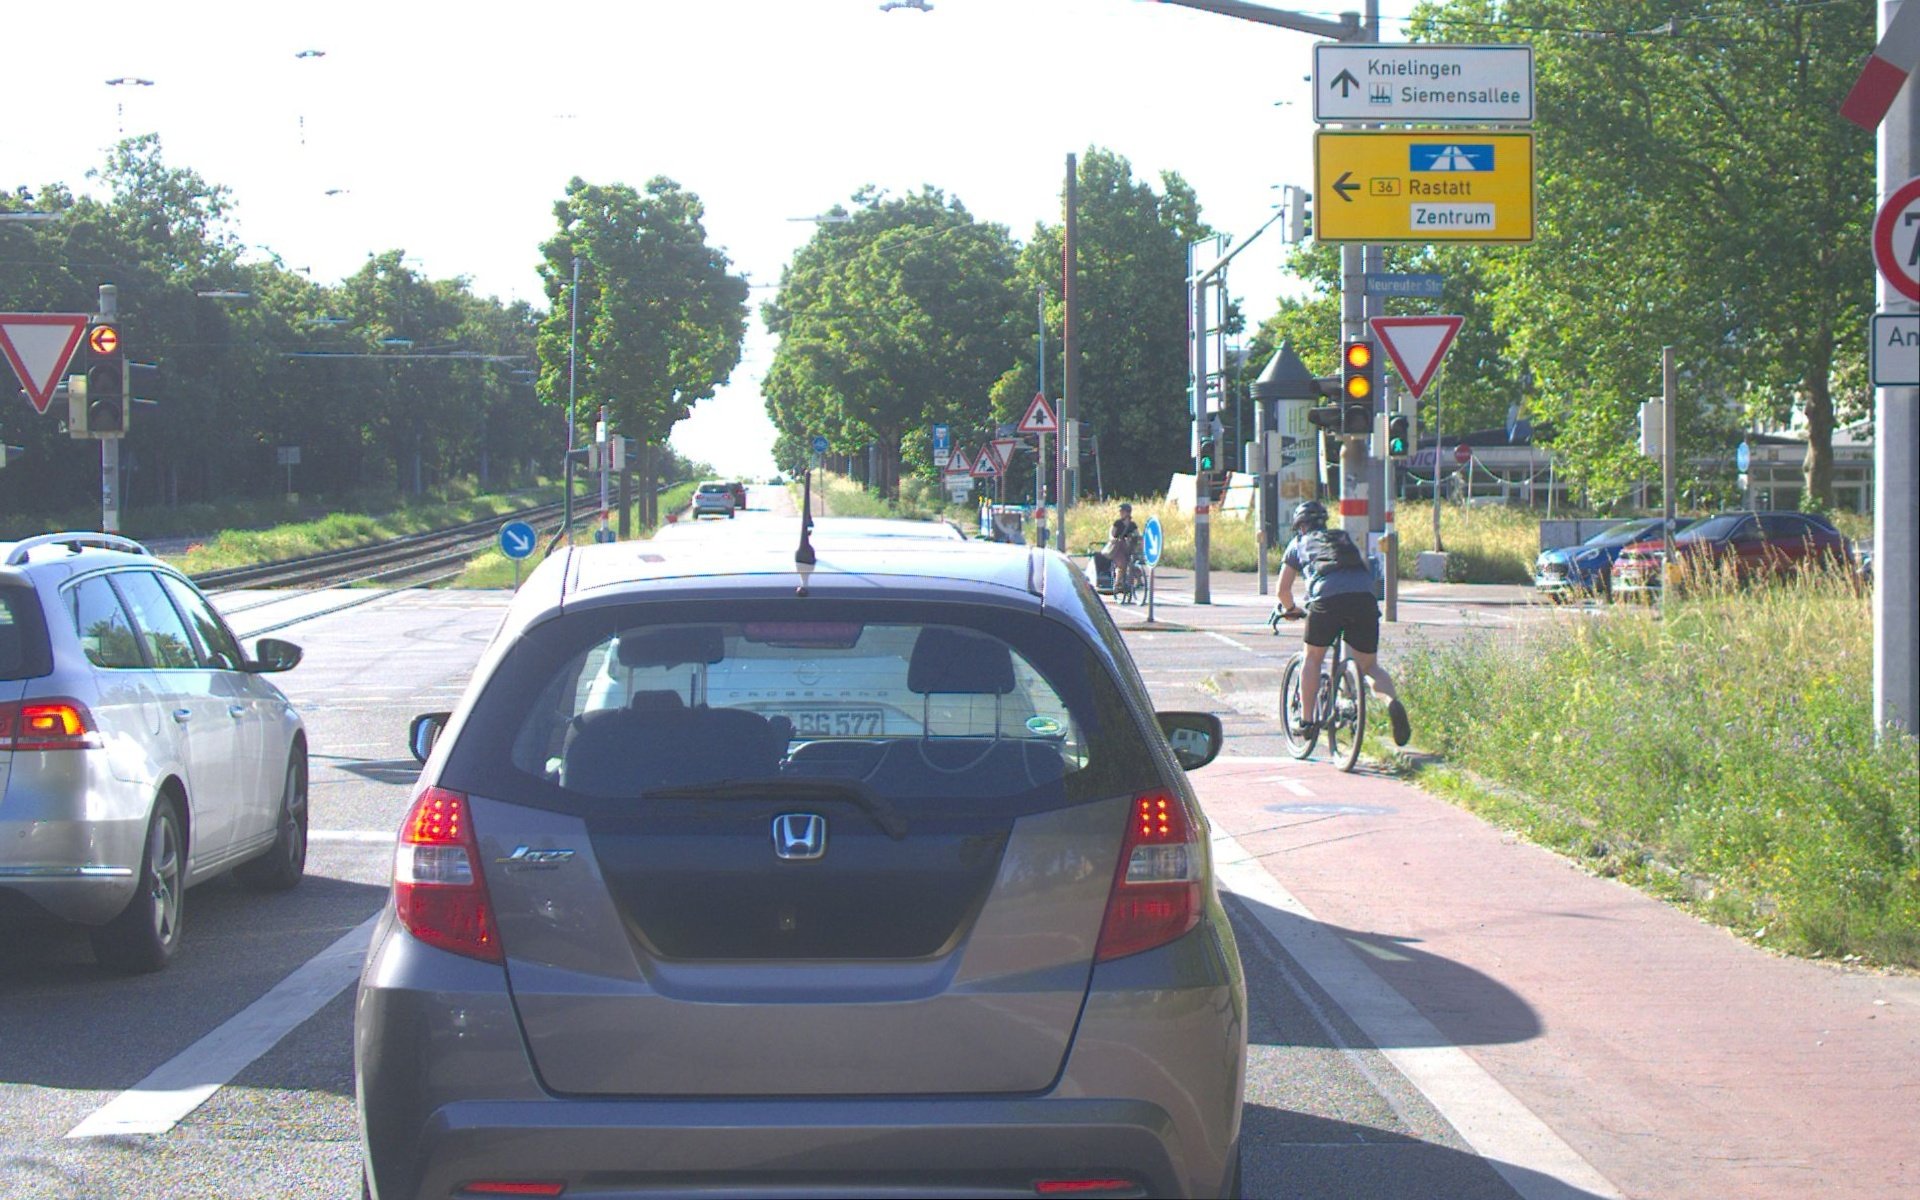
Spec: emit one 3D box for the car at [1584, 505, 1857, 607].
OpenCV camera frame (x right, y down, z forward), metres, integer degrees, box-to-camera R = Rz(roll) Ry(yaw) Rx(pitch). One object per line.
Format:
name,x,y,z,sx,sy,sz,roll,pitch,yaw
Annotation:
car,12.385,-0.736,55.990,4.076,1.595,1.817,-1,1,-25

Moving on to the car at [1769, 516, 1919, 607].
car,16.817,-0.727,62.769,3.847,1.595,1.713,-1,1,-29

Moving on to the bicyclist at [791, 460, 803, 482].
bicyclist,-11.507,-9.121,243.193,0.817,1.519,0.966,1,0,-2

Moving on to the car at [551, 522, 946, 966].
car,-0.786,0.460,13.439,1.351,1.522,3.124,0,1,-2

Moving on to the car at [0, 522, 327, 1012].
car,-3.648,0.476,12.875,1.877,1.522,4.421,0,1,-2

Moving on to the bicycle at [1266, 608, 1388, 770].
bicycle,2.319,0.542,21.882,0.524,0.920,2.089,0,1,-1

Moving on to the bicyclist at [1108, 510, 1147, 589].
bicyclist,2.860,-0.872,58.622,0.509,1.336,0.565,-1,1,-16

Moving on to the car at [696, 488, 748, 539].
car,-9.834,-3.554,142.195,1.993,2.007,4.000,1,1,-2

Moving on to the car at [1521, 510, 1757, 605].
car,11.894,-0.770,60.180,3.847,1.595,1.713,-1,1,-29

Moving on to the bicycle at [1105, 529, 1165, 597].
bicycle,2.955,-0.640,58.190,0.466,1.115,1.821,0,2,-15

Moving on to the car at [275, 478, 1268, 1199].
car,-0.336,0.513,7.666,1.670,1.510,3.674,0,1,-1

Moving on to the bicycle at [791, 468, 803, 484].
bicycle,-11.521,-8.757,243.178,0.817,1.044,2.506,1,1,-2

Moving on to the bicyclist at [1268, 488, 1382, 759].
bicyclist,2.304,0.136,21.772,0.615,1.673,0.933,0,1,0

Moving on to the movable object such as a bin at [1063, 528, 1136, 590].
movable object such as a bin,2.430,-0.717,59.987,0.908,1.065,1.317,1,1,-15
